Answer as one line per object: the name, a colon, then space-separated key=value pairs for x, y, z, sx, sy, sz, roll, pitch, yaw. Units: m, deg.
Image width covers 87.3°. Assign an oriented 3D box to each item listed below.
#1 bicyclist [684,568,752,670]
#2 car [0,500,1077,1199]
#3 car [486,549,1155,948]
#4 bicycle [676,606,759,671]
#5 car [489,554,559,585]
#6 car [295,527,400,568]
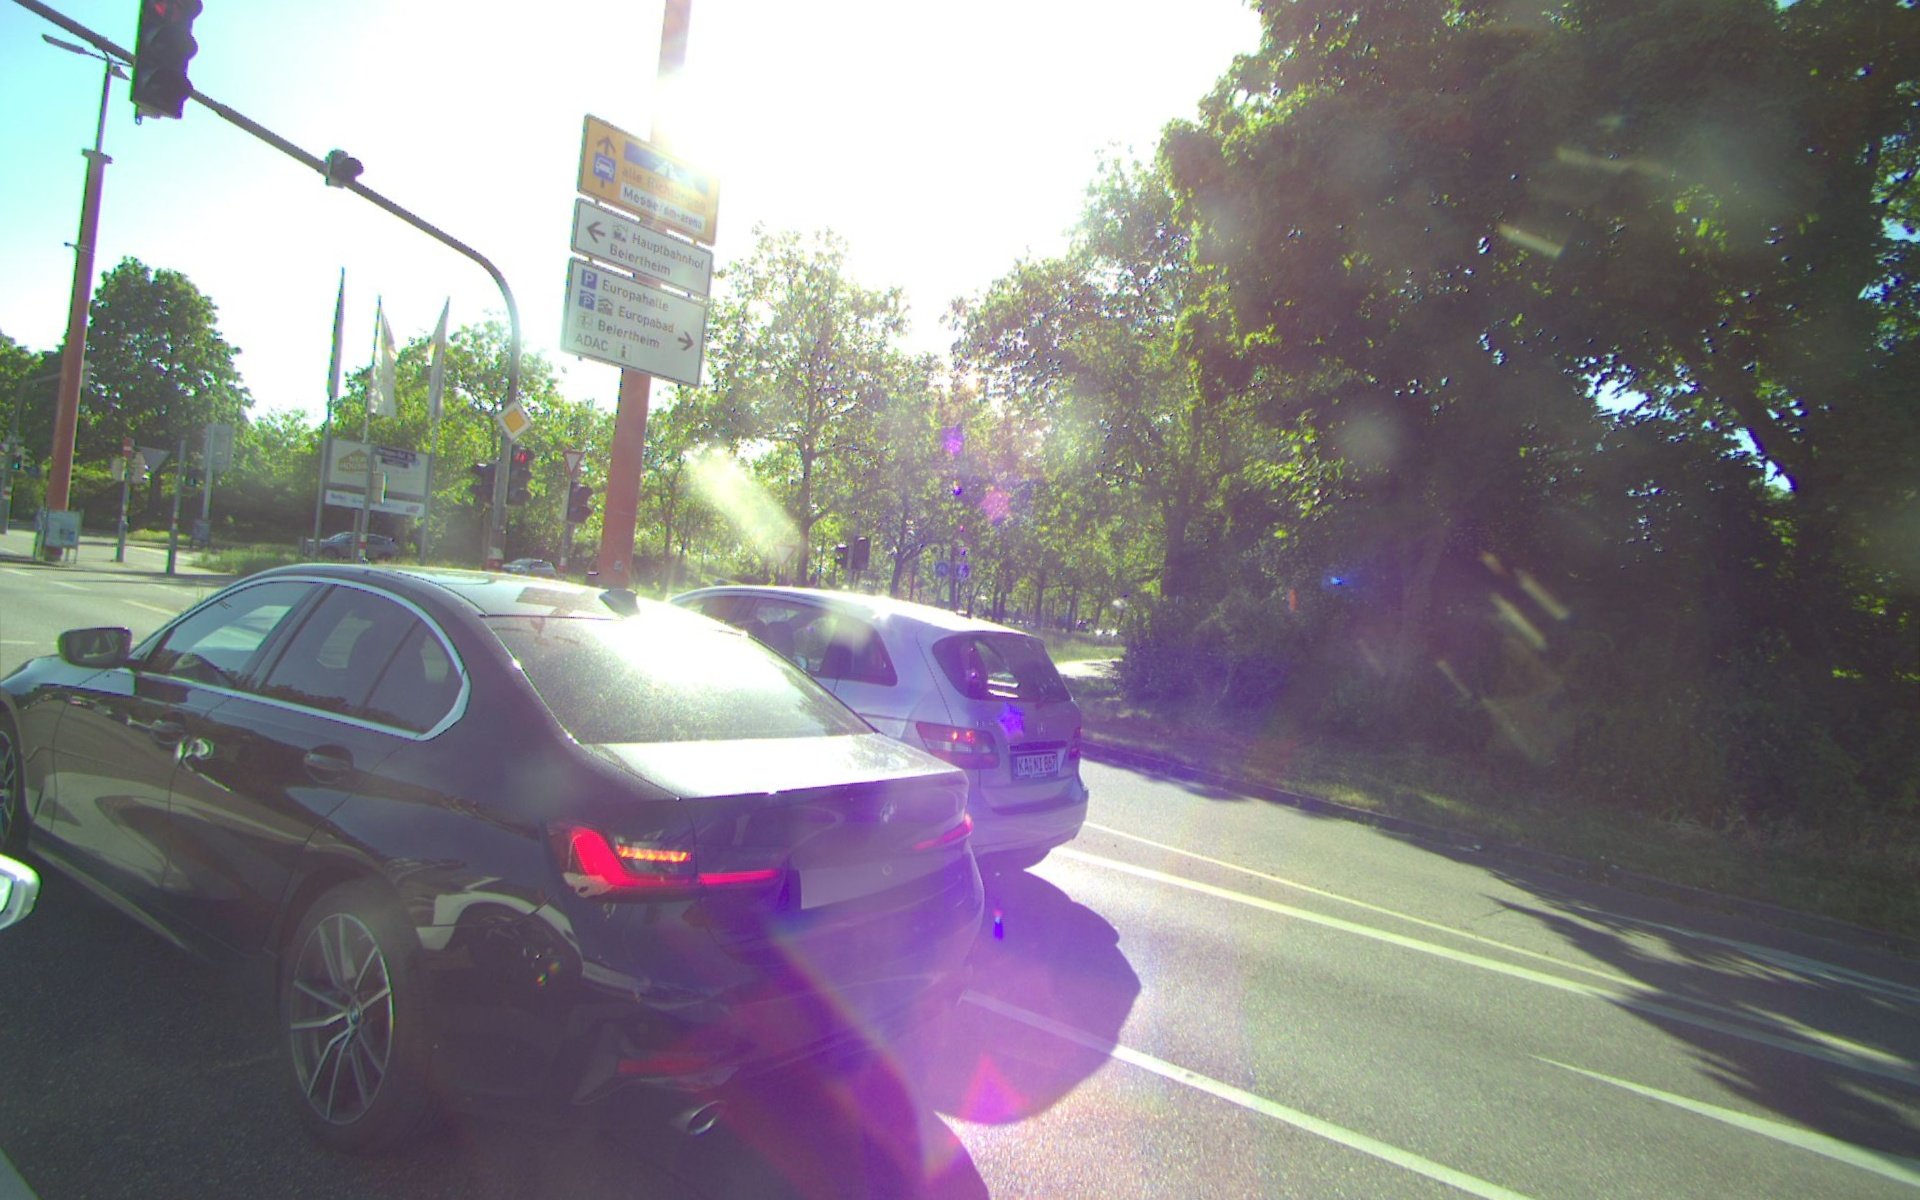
bicyclist: x=-4.476 y=0.351 z=18.677 sx=0.722 sy=1.763 sz=0.997 roll=7 pitch=0 yaw=8
car: x=-1.997 y=0.543 z=3.832 sx=4.371 sy=1.415 sz=1.871 roll=7 pitch=0 yaw=33
car: x=-1.015 y=0.706 z=6.486 sx=3.963 sy=1.597 sz=1.741 roll=7 pitch=0 yaw=33
bicycle: x=-4.494 y=0.719 z=18.786 sx=0.709 sy=1.070 sz=1.833 roll=7 pitch=-1 yaw=11
car: x=-27.512 y=-1.885 z=63.640 sx=1.652 sy=1.485 sz=3.996 roll=7 pitch=-1 yaw=20
car: x=-32.200 y=-2.760 z=53.014 sx=1.758 sy=1.503 sz=4.316 roll=7 pitch=-1 yaw=36
